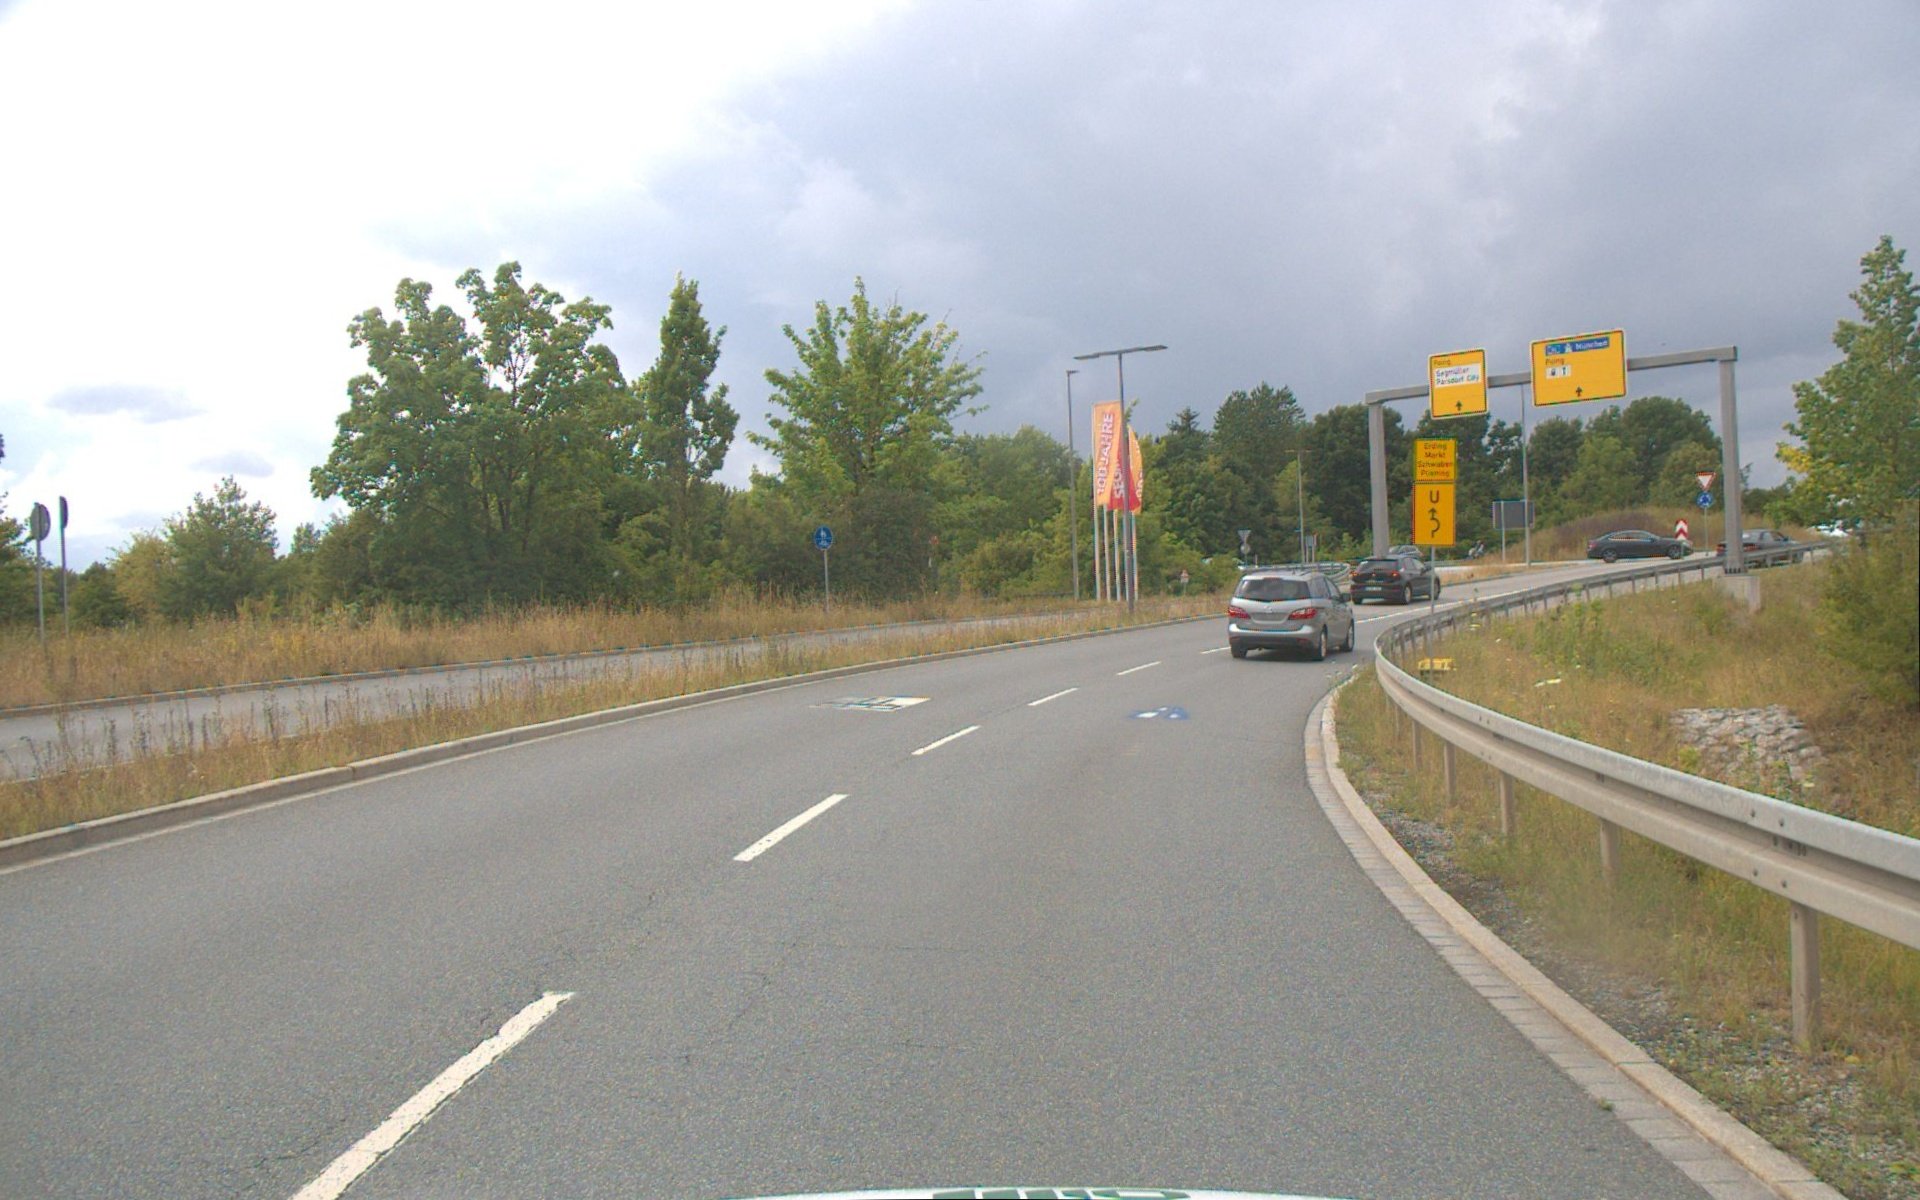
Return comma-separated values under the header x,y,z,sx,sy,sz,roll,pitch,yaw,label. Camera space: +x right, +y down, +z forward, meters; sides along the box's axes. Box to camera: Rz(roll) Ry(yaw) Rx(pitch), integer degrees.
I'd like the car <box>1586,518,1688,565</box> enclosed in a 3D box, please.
x,y,z,sx,sy,sz,roll,pitch,yaw,label
30.058,-2.567,73.465,4.061,1.814,1.901,-3,0,25,car

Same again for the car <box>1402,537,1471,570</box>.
x,y,z,sx,sy,sz,roll,pitch,yaw,label
30.056,-2.948,104.256,4.111,1.693,1.839,-6,1,-32,car

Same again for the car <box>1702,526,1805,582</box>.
x,y,z,sx,sy,sz,roll,pitch,yaw,label
29.241,-1.710,60.915,3.911,1.869,1.639,-3,1,-35,car

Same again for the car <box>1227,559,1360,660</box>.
x,y,z,sx,sy,sz,roll,pitch,yaw,label
6.414,0.115,31.547,1.731,1.644,3.922,2,3,22,car

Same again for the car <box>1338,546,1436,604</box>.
x,y,z,sx,sy,sz,roll,pitch,yaw,label
12.944,-0.773,49.958,1.835,1.633,3.727,-2,0,31,car
